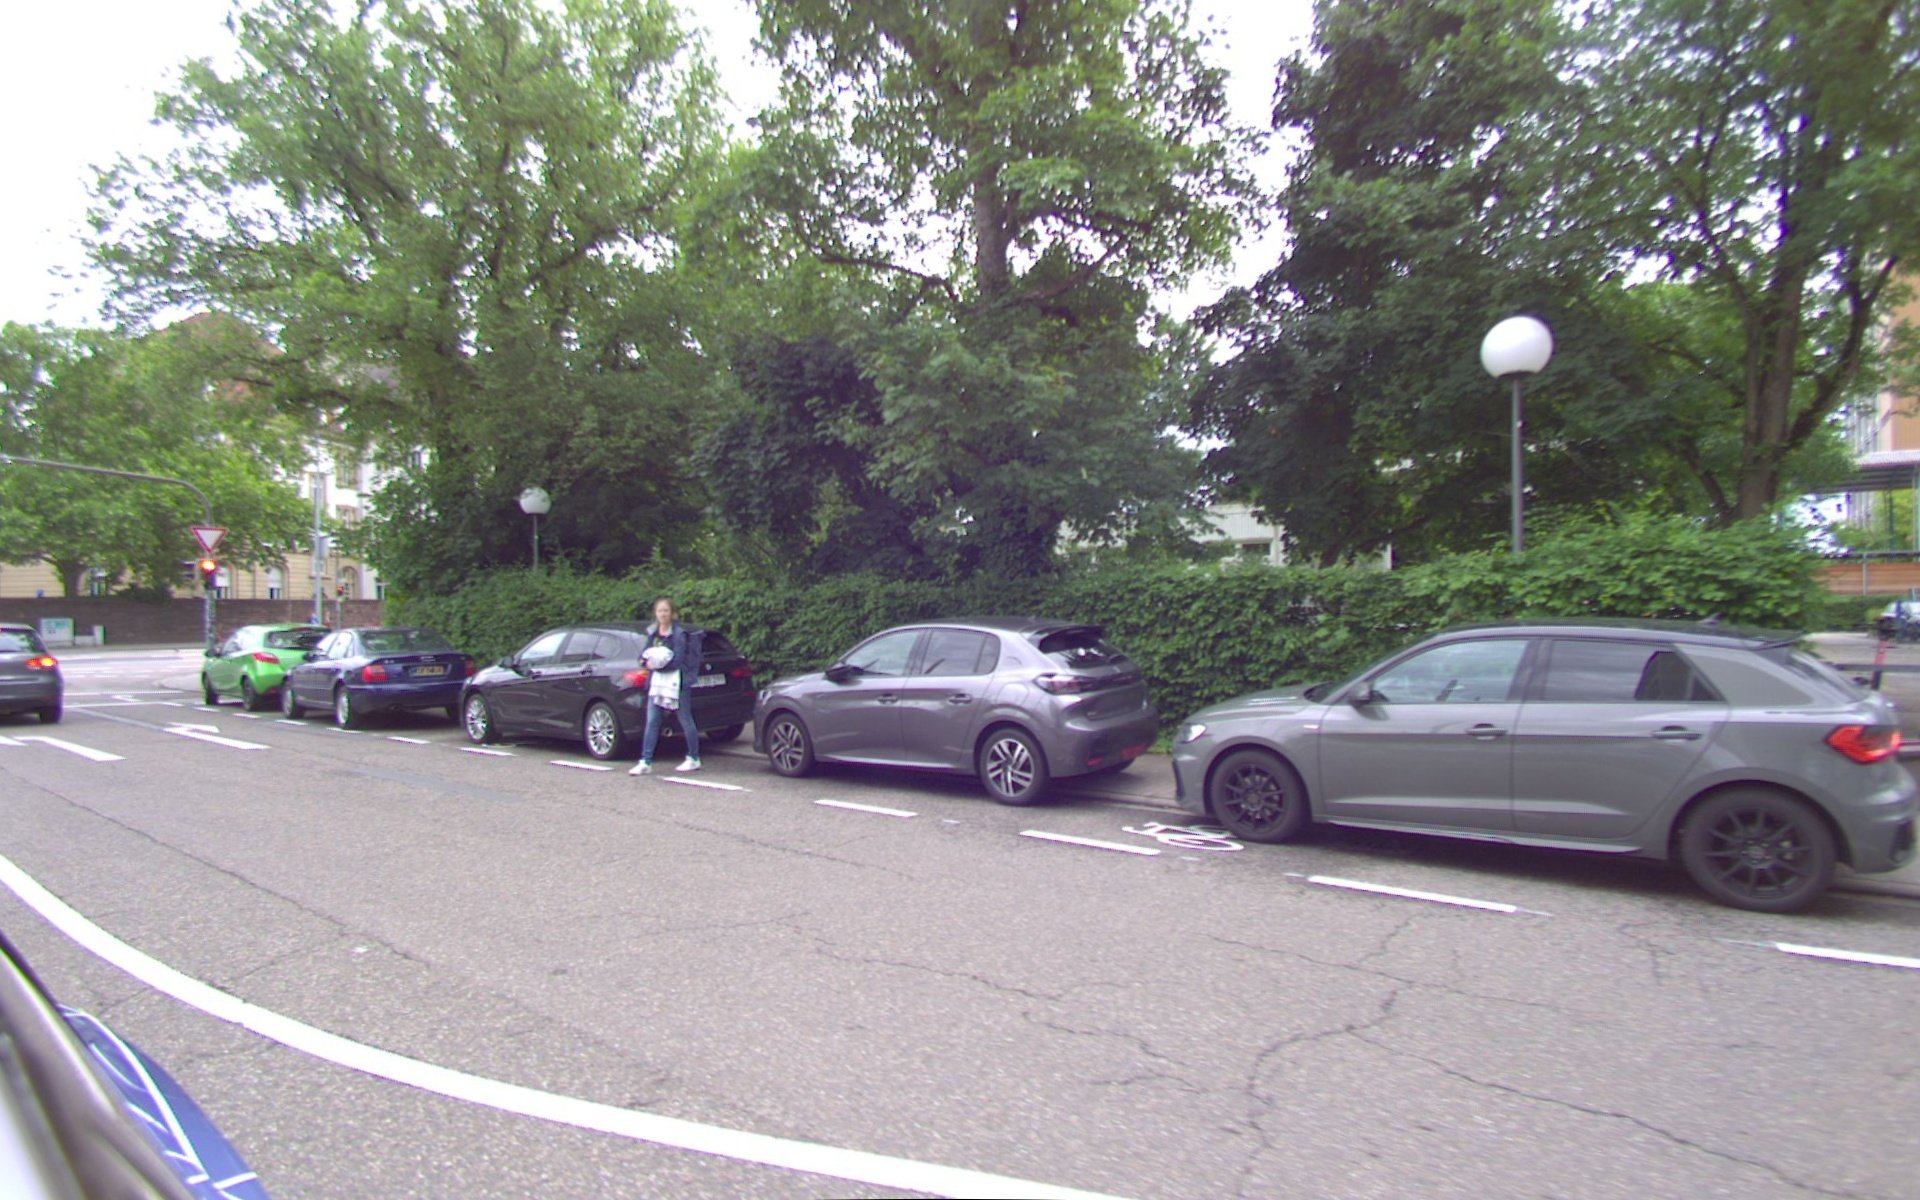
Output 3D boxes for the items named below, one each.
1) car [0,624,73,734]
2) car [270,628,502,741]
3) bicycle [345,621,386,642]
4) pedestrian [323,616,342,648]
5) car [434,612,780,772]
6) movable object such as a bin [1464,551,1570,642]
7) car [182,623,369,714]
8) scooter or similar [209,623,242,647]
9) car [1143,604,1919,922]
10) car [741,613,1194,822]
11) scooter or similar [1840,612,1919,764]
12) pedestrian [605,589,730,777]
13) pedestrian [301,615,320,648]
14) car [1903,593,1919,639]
[{"bbox_3d":[-14.906,1.121,15.119,4.162,1.508,1.766,-1,-1,38],"label":"car"},{"bbox_3d":[-8.727,1.152,15.222,4.335,1.419,1.778,-1,-1,42],"label":"car"},{"bbox_3d":[-35.370,1.842,60.241,0.581,1.194,2.134,1,0,30],"label":"bicycle"},{"bbox_3d":[-34.760,1.759,56.032,0.778,1.706,0.635,0,0,35],"label":"pedestrian"},{"bbox_3d":[-4.342,0.978,12.103,4.524,1.573,1.780,-2,-2,38],"label":"car"},{"bbox_3d":[14.956,-0.014,27.043,1.995,2.188,4.615,-1,-2,35],"label":"movable object such as a bin"},{"bbox_3d":[-12.718,1.168,18.710,4.245,1.481,1.779,-1,-1,40],"label":"car"},{"bbox_3d":[-39.508,1.866,54.450,1.389,1.239,0.496,1,0,-33],"label":"scooter or similar"},{"bbox_3d":[3.368,0.785,6.353,4.001,1.422,1.747,-2,-1,37],"label":"car"},{"bbox_3d":[-0.050,0.870,9.075,3.820,1.482,1.745,-1,-1,38],"label":"car"},{"bbox_3d":[8.220,0.714,8.553,1.285,1.219,0.452,-1,-1,-11],"label":"scooter or similar"},{"bbox_3d":[-2.787,0.766,9.632,0.967,1.674,0.731,-3,-3,40],"label":"pedestrian"},{"bbox_3d":[-35.603,1.727,55.460,0.734,1.752,0.662,0,0,36],"label":"pedestrian"},{"bbox_3d":[33.138,0.511,32.972,1.860,1.541,3.753,-1,-1,13],"label":"car"}]
